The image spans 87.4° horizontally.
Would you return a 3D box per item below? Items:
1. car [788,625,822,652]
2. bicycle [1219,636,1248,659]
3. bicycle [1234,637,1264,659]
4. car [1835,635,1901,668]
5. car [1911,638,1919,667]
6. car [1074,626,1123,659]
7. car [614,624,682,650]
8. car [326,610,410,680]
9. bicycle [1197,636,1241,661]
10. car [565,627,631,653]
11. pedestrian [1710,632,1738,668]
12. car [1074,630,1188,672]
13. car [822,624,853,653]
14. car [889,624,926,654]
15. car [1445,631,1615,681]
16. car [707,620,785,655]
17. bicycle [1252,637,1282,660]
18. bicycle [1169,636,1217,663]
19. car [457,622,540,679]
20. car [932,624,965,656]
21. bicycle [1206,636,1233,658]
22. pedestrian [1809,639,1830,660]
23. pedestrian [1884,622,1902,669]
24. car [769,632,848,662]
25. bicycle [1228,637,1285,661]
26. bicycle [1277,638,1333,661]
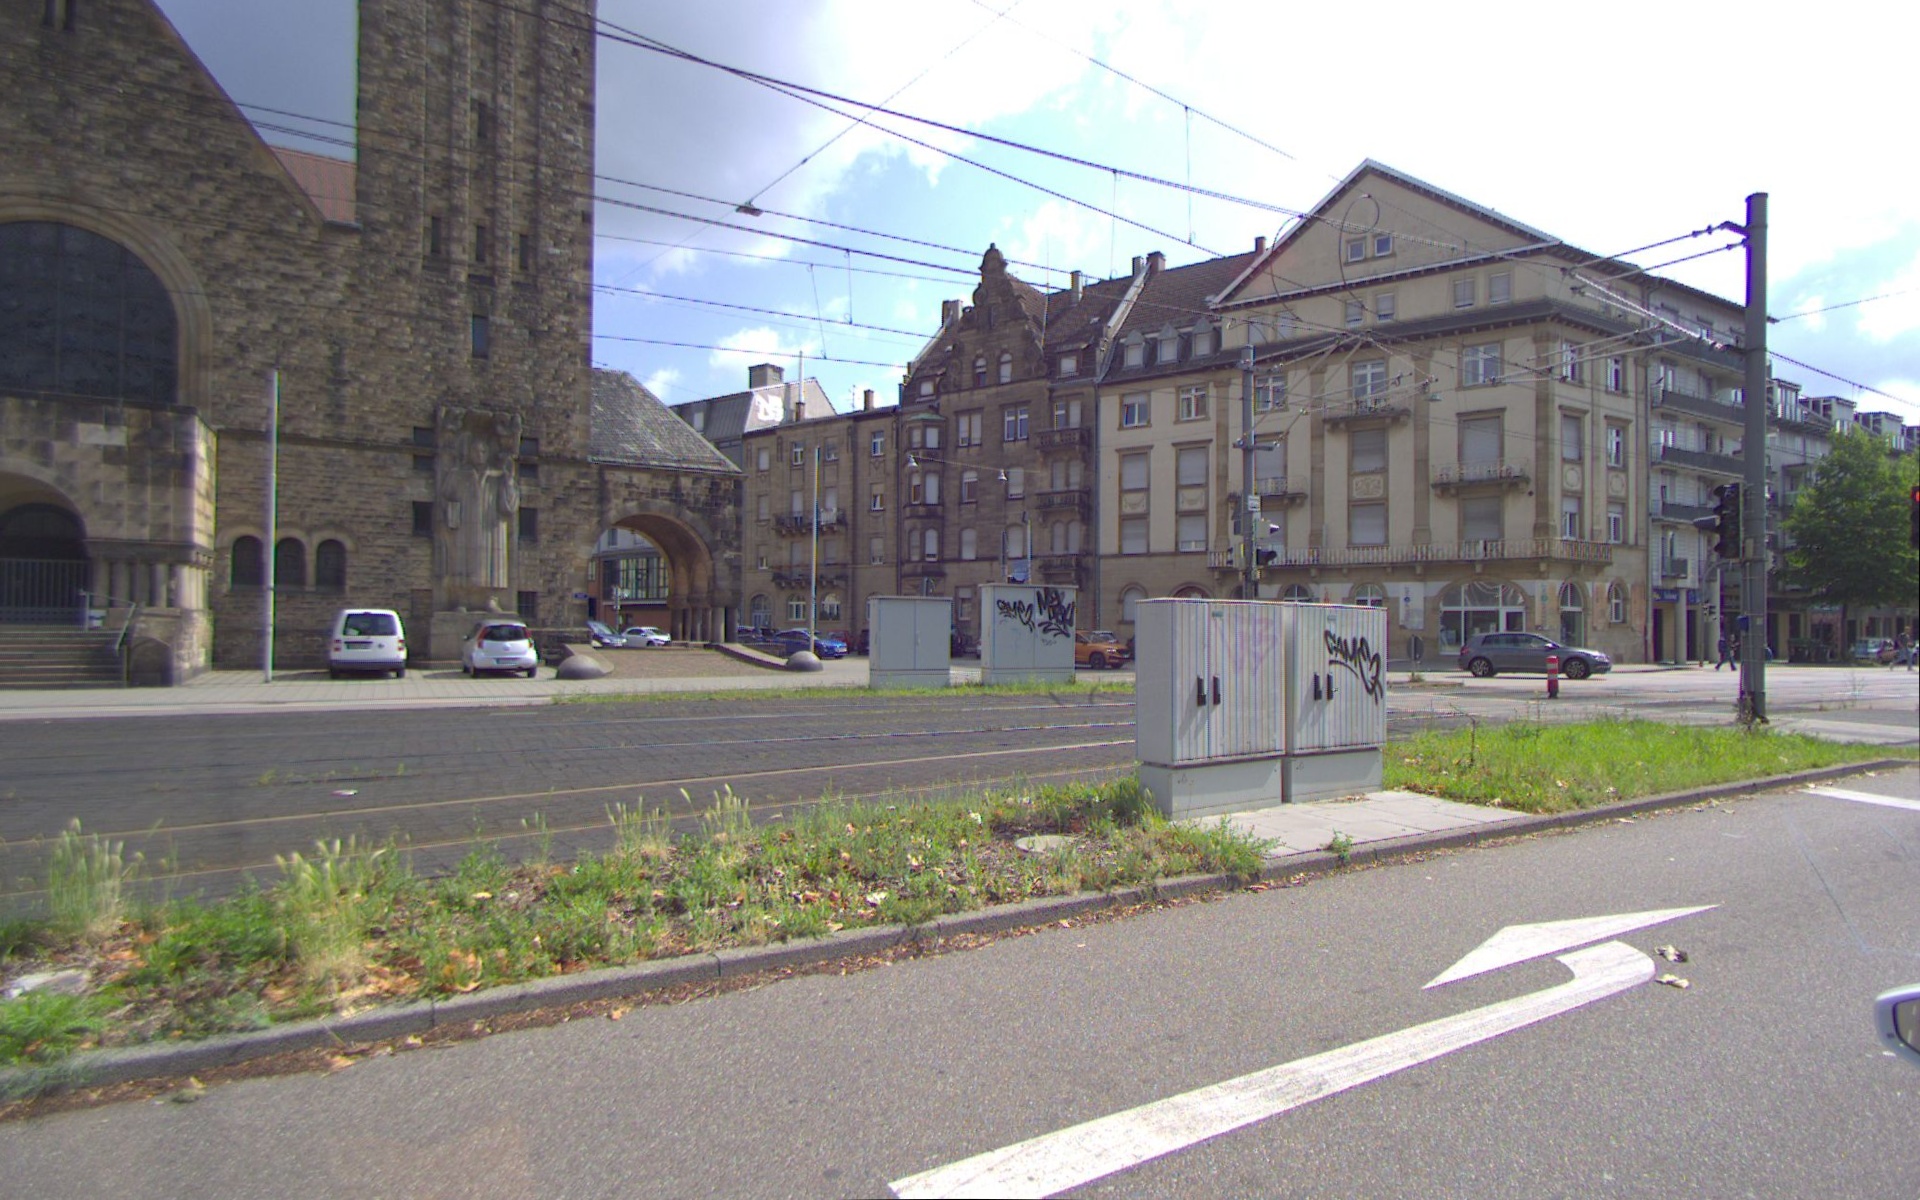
[{"bbox_3d":[-10.021,2.484,65.056,1.686,1.706,4.000,0,-2,-2],"label":"car"},{"bbox_3d":[13.506,2.323,49.590,0.729,1.067,2.561,-1,-2,31],"label":"bicycle"},{"bbox_3d":[14.169,2.330,49.118,0.792,1.067,2.561,-1,-2,31],"label":"bicycle"},{"bbox_3d":[58.080,3.268,64.251,3.953,2.040,1.984,1,-2,-30],"label":"car"},{"bbox_3d":[69.364,3.698,71.048,3.953,2.040,1.984,1,-2,-30],"label":"car"},{"bbox_3d":[7.265,2.206,53.061,1.768,1.661,3.998,0,-2,-5],"label":"car"},{"bbox_3d":[-18.212,2.135,58.552,4.122,1.449,1.532,-1,-2,34],"label":"car"},{"bbox_3d":[-16.449,1.214,27.845,1.874,1.771,3.849,1,-2,-32],"label":"car"},{"bbox_3d":[12.232,2.272,47.402,1.939,1.129,0.487,-1,-2,24],"label":"bicycle"},{"bbox_3d":[-20.686,2.284,57.407,3.719,1.449,1.709,-1,-2,34],"label":"car"},{"bbox_3d":[34.384,2.254,45.229,0.846,1.617,0.693,0,-2,25],"label":"pedestrian"},{"bbox_3d":[6.823,2.001,40.286,4.258,1.567,1.625,-1,-2,37],"label":"car"},{"bbox_3d":[-7.702,2.414,63.394,1.617,1.718,3.859,0,-2,-2],"label":"car"},{"bbox_3d":[-3.119,2.332,60.224,1.960,1.760,4.001,0,-2,1],"label":"car"},{"bbox_3d":[17.894,1.705,31.623,4.498,1.455,1.700,-1,-2,37],"label":"car"},{"bbox_3d":[-13.190,2.294,61.818,4.727,2.040,1.994,-1,-2,35],"label":"car"},{"bbox_3d":[14.884,2.337,48.665,0.792,1.067,2.561,-1,-2,31],"label":"bicycle"},{"bbox_3d":[11.519,2.421,49.765,0.982,1.270,3.313,0,-2,-13],"label":"bicycle"},{"bbox_3d":[-13.286,1.408,28.822,1.833,1.522,3.249,1,-2,-31],"label":"car"},{"bbox_3d":[-0.625,2.302,58.357,1.850,1.782,4.001,0,-2,1],"label":"car"},{"bbox_3d":[13.027,2.324,50.387,0.729,1.067,2.360,-1,-2,31],"label":"bicycle"},{"bbox_3d":[50.306,2.901,58.818,0.695,1.227,0.750,1,-2,-30],"label":"pedestrian"},{"bbox_3d":[40.603,1.962,43.703,0.415,2.040,0.474,1,-2,-35],"label":"pedestrian"},{"bbox_3d":[-7.646,2.351,50.619,3.933,1.449,1.532,-1,-2,34],"label":"car"},{"bbox_3d":[13.927,2.302,47.227,2.522,1.067,0.680,-1,-2,33],"label":"bicycle"},{"bbox_3d":[16.353,2.342,47.577,2.525,1.067,0.803,1,-2,-18],"label":"bicycle"}]
